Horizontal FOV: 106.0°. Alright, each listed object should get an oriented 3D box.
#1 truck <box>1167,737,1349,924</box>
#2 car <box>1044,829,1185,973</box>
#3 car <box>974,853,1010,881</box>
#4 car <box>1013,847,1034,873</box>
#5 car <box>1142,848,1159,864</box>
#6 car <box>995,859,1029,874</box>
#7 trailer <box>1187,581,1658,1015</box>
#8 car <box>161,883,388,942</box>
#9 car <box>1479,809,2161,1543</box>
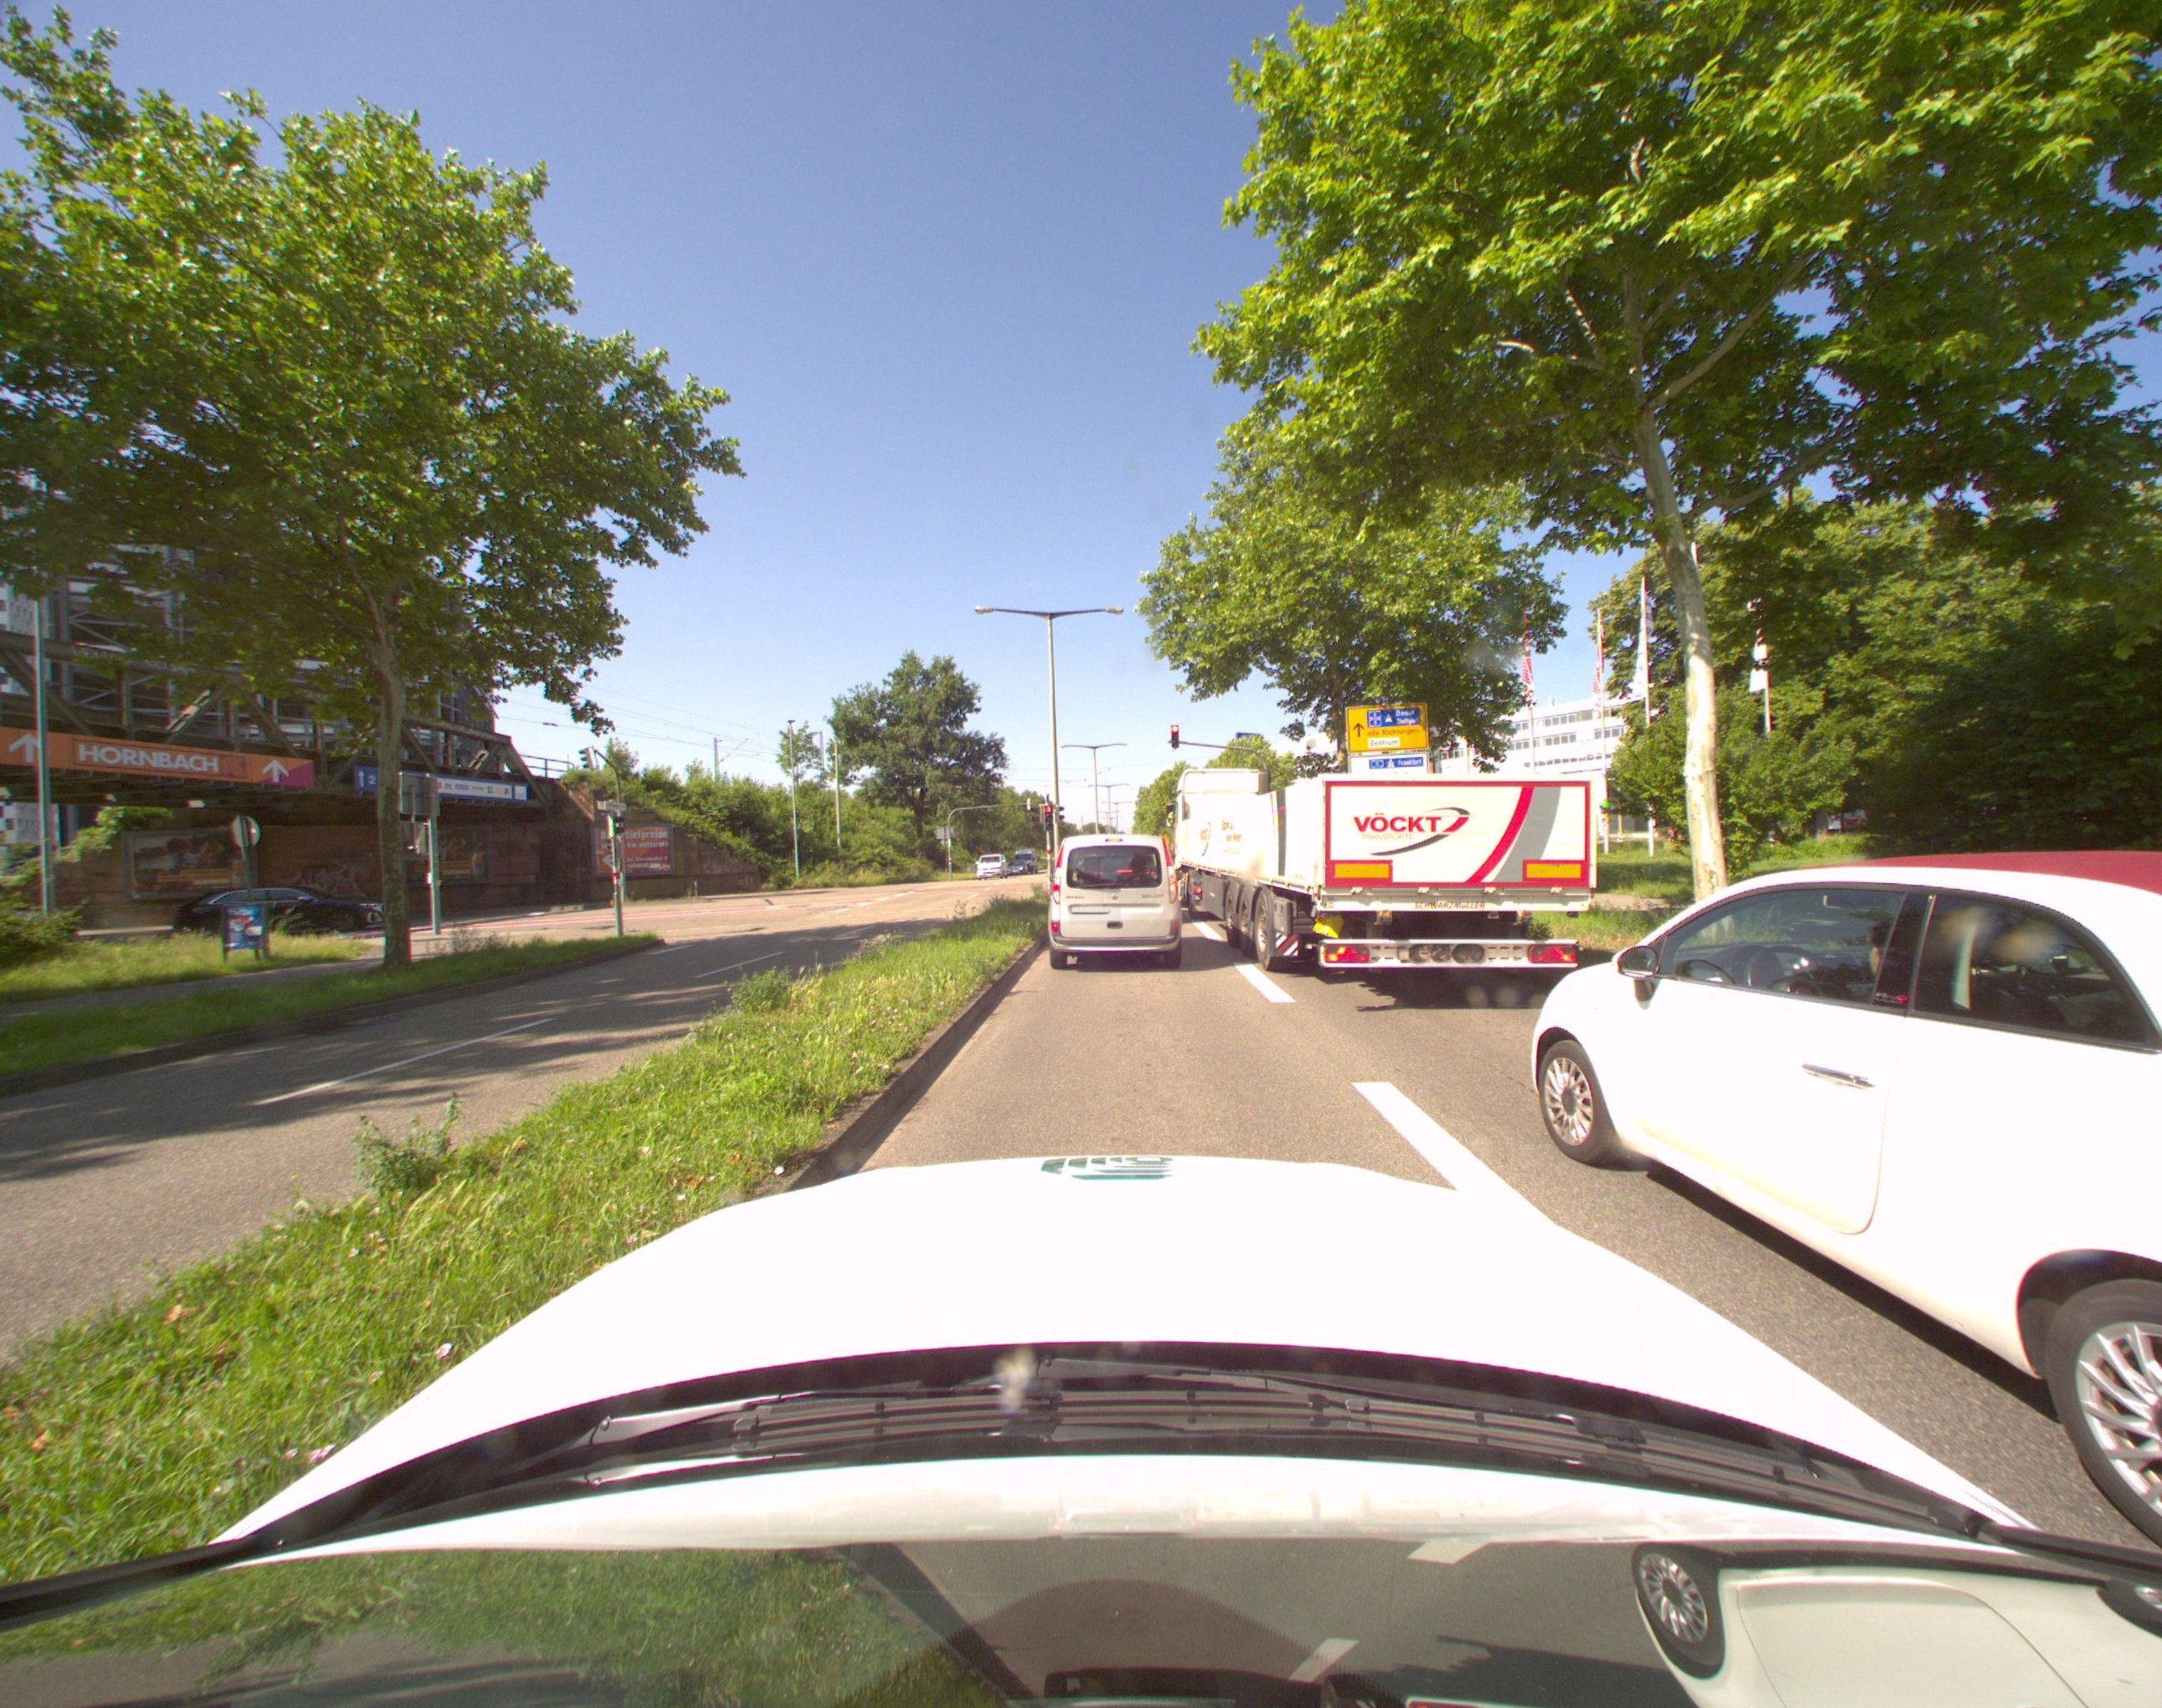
[{"bbox_3d":[4.016,-0.460,20.389,3.060,3.758,7.478,-1,0,2],"label":"truck"},{"bbox_3d":[0.493,0.596,12.187,1.742,1.772,3.951,-1,0,2],"label":"car"},{"bbox_3d":[-6.746,0.957,62.387,1.986,1.891,4.989,-4,0,2],"label":"car"},{"bbox_3d":[-6.027,0.668,85.757,2.055,2.614,5.861,-1,0,-4],"label":"car"},{"bbox_3d":[9.083,0.302,106.303,1.986,2.014,4.001,-1,0,2],"label":"car"},{"bbox_3d":[-6.528,1.174,76.699,1.920,1.409,4.193,-1,0,-25],"label":"car"},{"bbox_3d":[3.776,-0.454,13.253,3.004,3.740,12.248,-1,0,3],"label":"trailer"},{"bbox_3d":[-26.096,1.828,26.654,5.074,1.596,1.510,-1,-1,-35],"label":"car"},{"bbox_3d":[3.021,0.621,2.903,1.654,1.436,3.523,-1,0,4],"label":"car"}]
